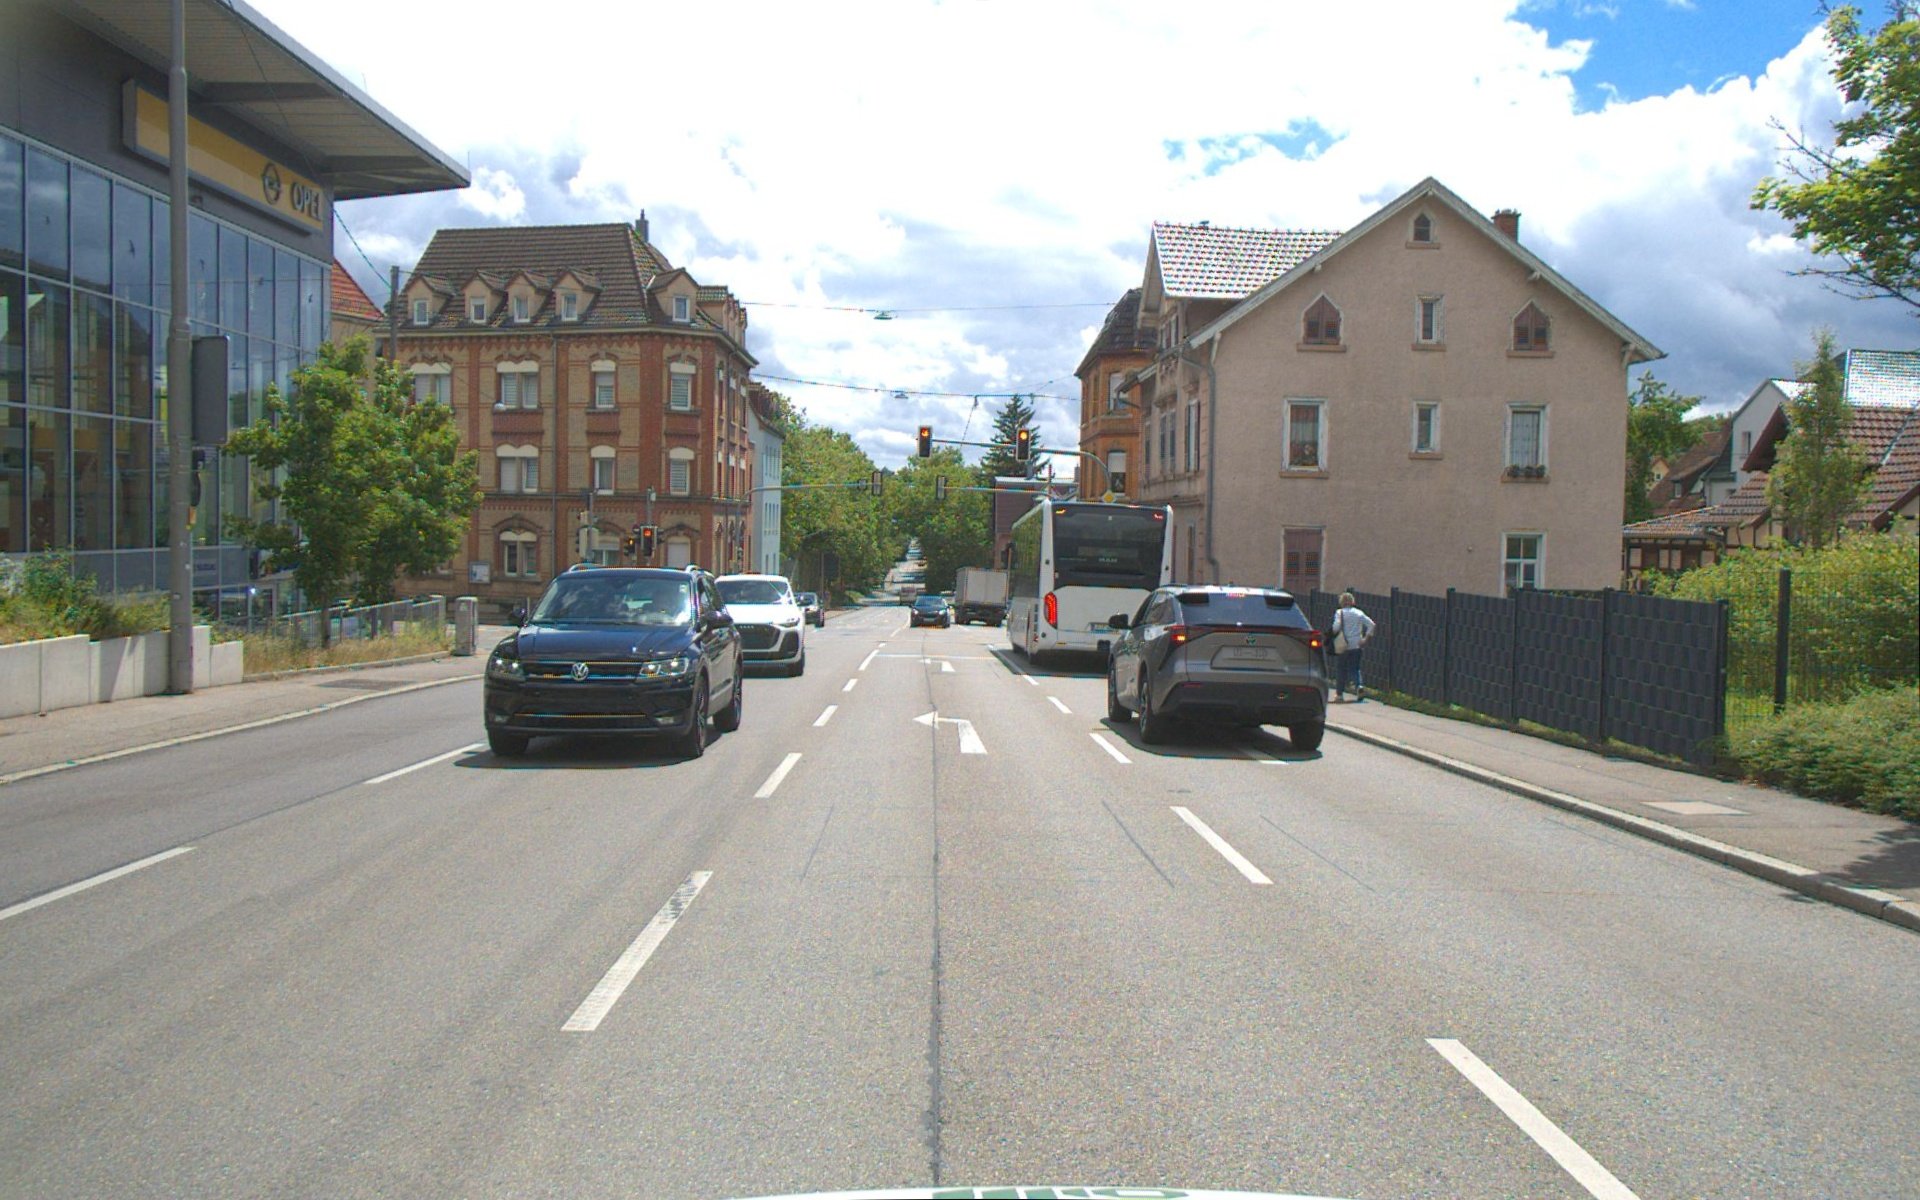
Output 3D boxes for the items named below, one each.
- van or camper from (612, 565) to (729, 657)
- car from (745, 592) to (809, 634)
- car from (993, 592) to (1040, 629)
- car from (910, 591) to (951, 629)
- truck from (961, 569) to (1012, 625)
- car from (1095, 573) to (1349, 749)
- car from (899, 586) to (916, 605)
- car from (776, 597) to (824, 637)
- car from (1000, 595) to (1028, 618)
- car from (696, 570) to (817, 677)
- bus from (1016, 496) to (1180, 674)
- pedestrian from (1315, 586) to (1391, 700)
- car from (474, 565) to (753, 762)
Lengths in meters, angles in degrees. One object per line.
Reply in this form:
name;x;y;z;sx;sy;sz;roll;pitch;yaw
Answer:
van or camper;-6.605;0.208;38.291;1.930;1.948;5.127;1;1;-2
car;-6.233;0.429;56.682;1.826;1.342;4.258;1;1;-2
car;2.535;0.451;74.829;1.891;1.610;4.207;0;1;-1
car;-1.371;0.431;76.421;1.826;1.695;4.258;1;1;-2
truck;1.506;-0.203;97.939;2.613;3.162;9.033;0;1;-2
car;2.695;0.552;18.009;1.892;1.610;4.206;1;2;-3
car;-5.613;-0.542;177.228;1.796;1.914;3.999;0;2;-2
car;-7.145;0.736;74.184;1.826;1.695;4.258;1;1;-2
car;4.047;0.479;124.659;1.891;1.610;4.207;0;1;-1
car;-3.452;0.357;28.684;1.827;1.685;4.375;1;1;-4
bus;2.783;-0.457;36.902;2.744;3.253;12.198;1;2;1
pedestrian;5.719;0.609;24.121;0.796;1.609;1.069;-1;0;-2
car;-3.051;0.495;15.403;1.826;1.567;4.105;1;1;-2
